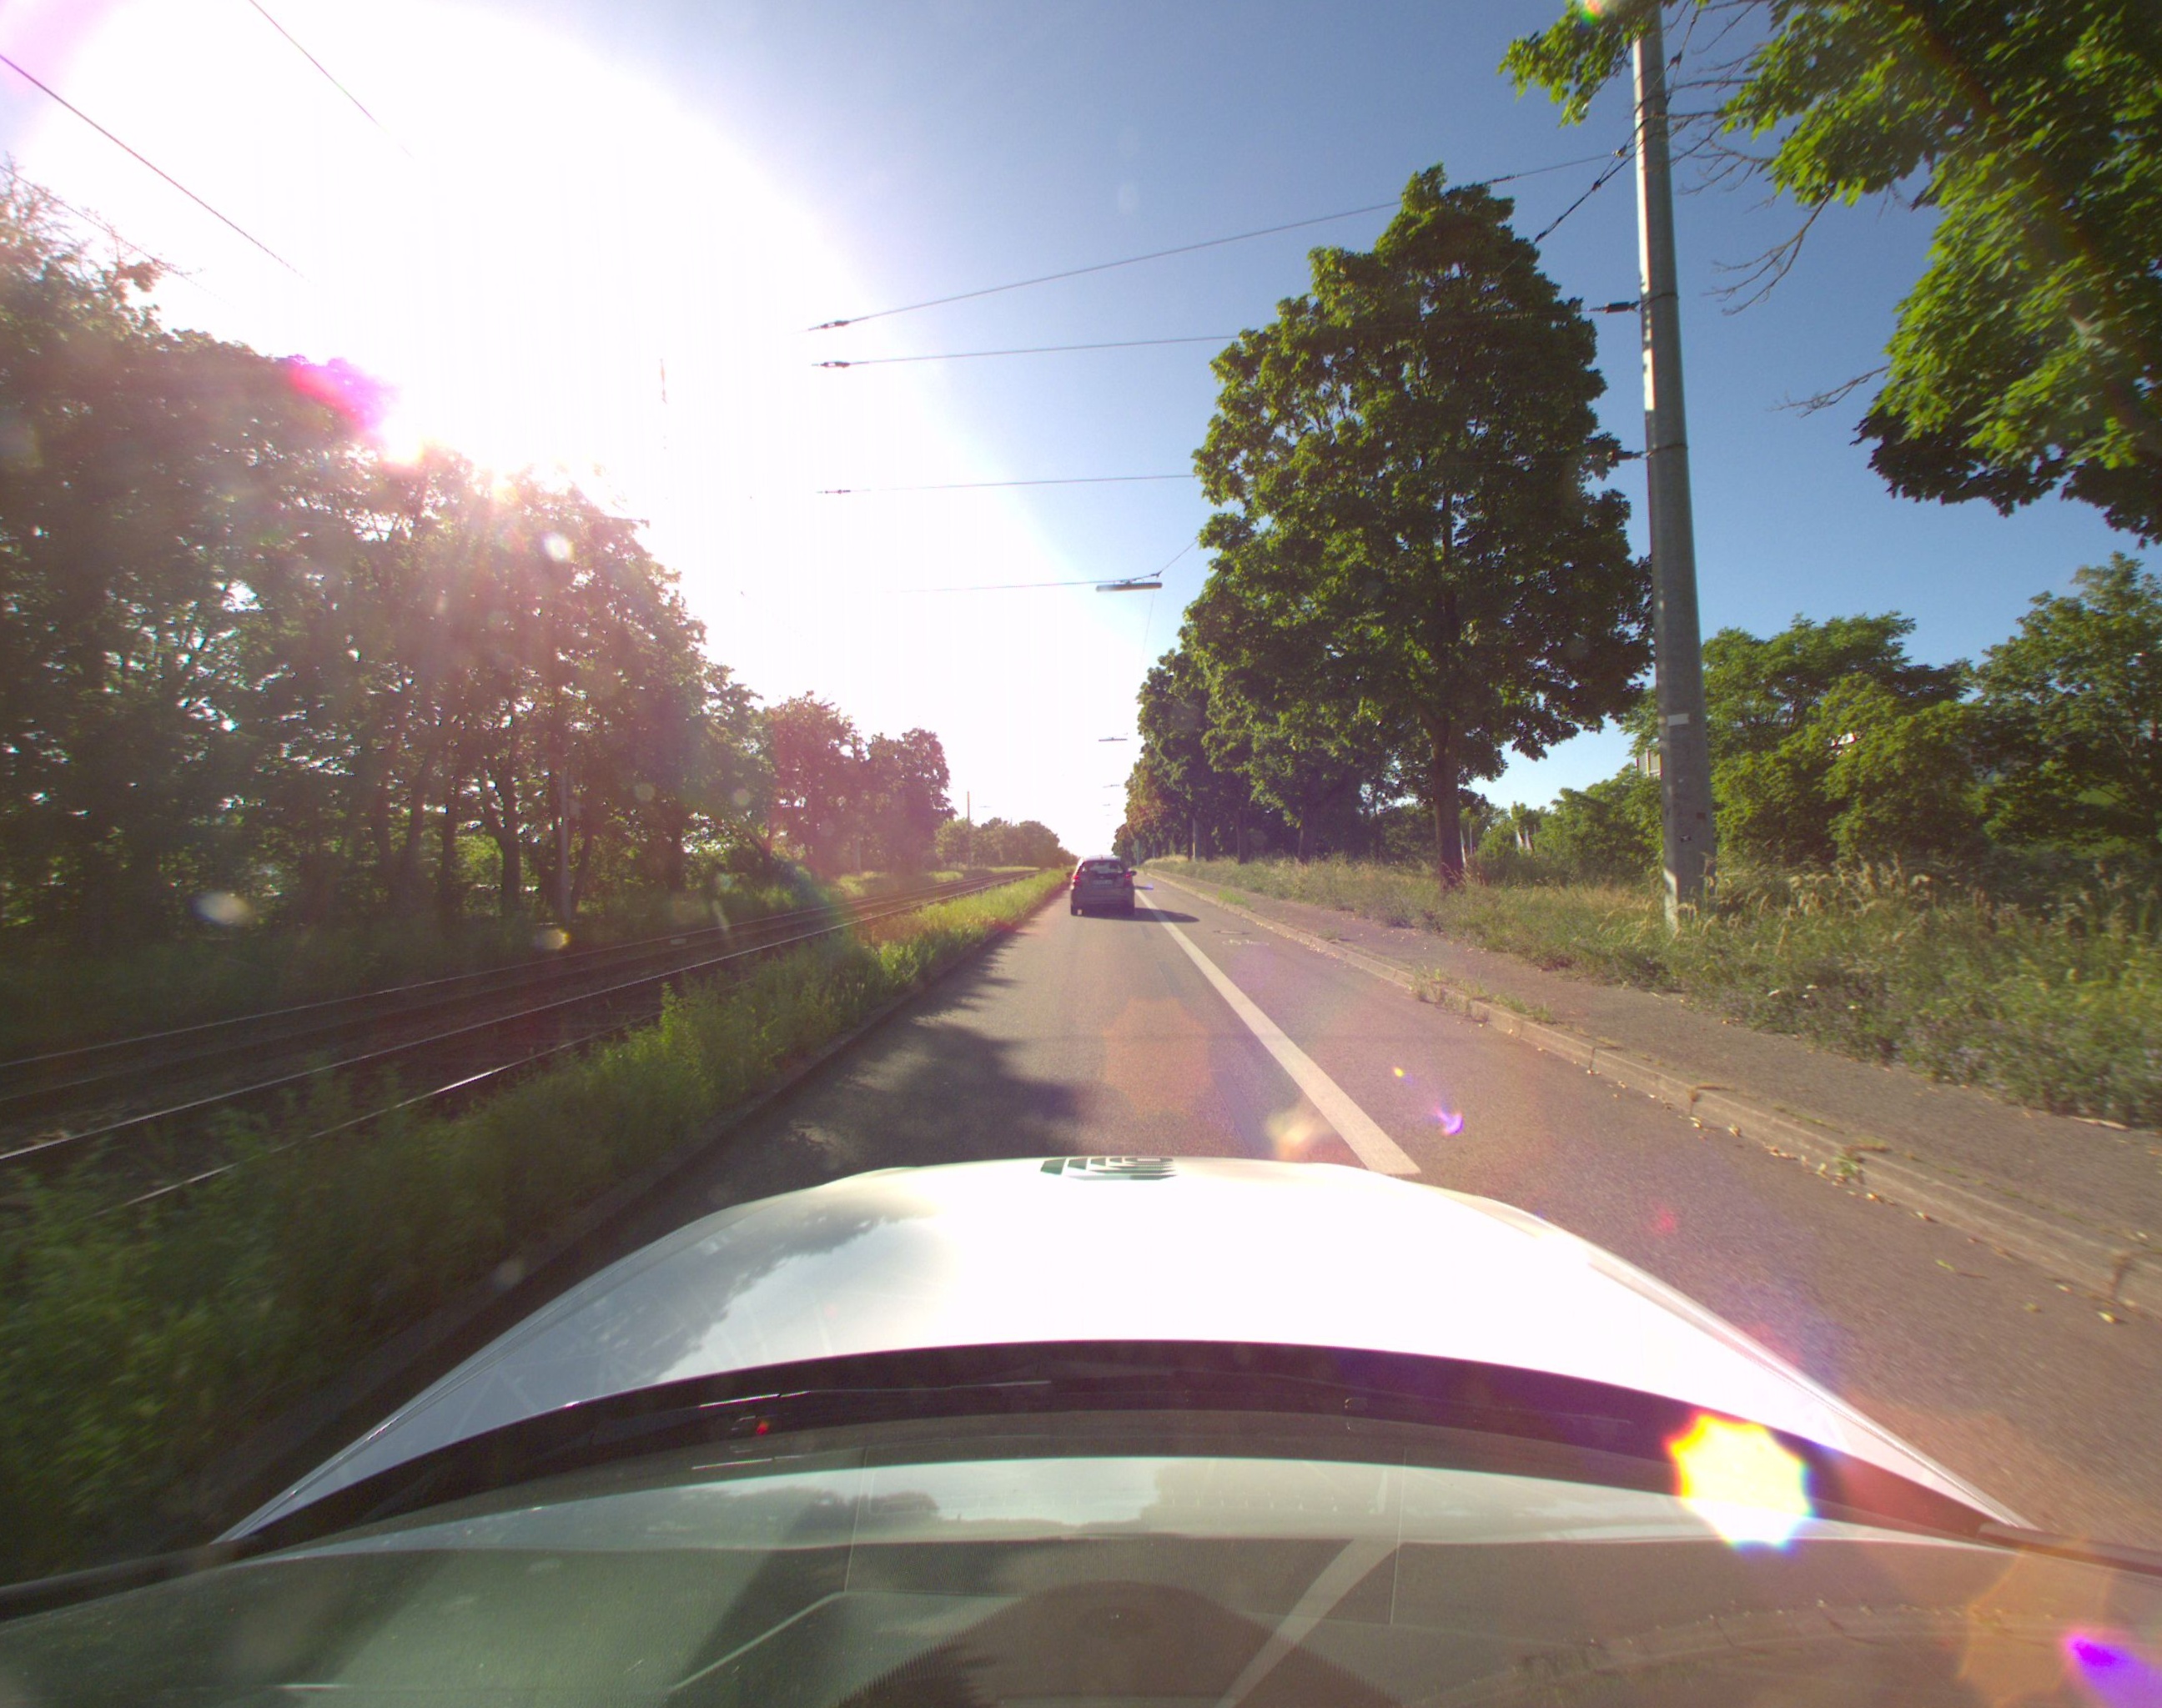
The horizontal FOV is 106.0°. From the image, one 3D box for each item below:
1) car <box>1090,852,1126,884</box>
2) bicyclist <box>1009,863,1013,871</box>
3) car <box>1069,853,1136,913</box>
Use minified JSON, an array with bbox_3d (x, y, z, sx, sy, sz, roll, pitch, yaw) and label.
[{"bbox_3d":[1.337,0.669,39.990,1.648,1.507,3.813,0,0,2],"label":"car"},{"bbox_3d":[-12.132,2.287,140.257,0.580,1.310,0.988,0,-1,2],"label":"bicyclist"},{"bbox_3d":[0.611,0.733,22.257,1.663,1.507,3.813,0,0,2],"label":"car"}]
